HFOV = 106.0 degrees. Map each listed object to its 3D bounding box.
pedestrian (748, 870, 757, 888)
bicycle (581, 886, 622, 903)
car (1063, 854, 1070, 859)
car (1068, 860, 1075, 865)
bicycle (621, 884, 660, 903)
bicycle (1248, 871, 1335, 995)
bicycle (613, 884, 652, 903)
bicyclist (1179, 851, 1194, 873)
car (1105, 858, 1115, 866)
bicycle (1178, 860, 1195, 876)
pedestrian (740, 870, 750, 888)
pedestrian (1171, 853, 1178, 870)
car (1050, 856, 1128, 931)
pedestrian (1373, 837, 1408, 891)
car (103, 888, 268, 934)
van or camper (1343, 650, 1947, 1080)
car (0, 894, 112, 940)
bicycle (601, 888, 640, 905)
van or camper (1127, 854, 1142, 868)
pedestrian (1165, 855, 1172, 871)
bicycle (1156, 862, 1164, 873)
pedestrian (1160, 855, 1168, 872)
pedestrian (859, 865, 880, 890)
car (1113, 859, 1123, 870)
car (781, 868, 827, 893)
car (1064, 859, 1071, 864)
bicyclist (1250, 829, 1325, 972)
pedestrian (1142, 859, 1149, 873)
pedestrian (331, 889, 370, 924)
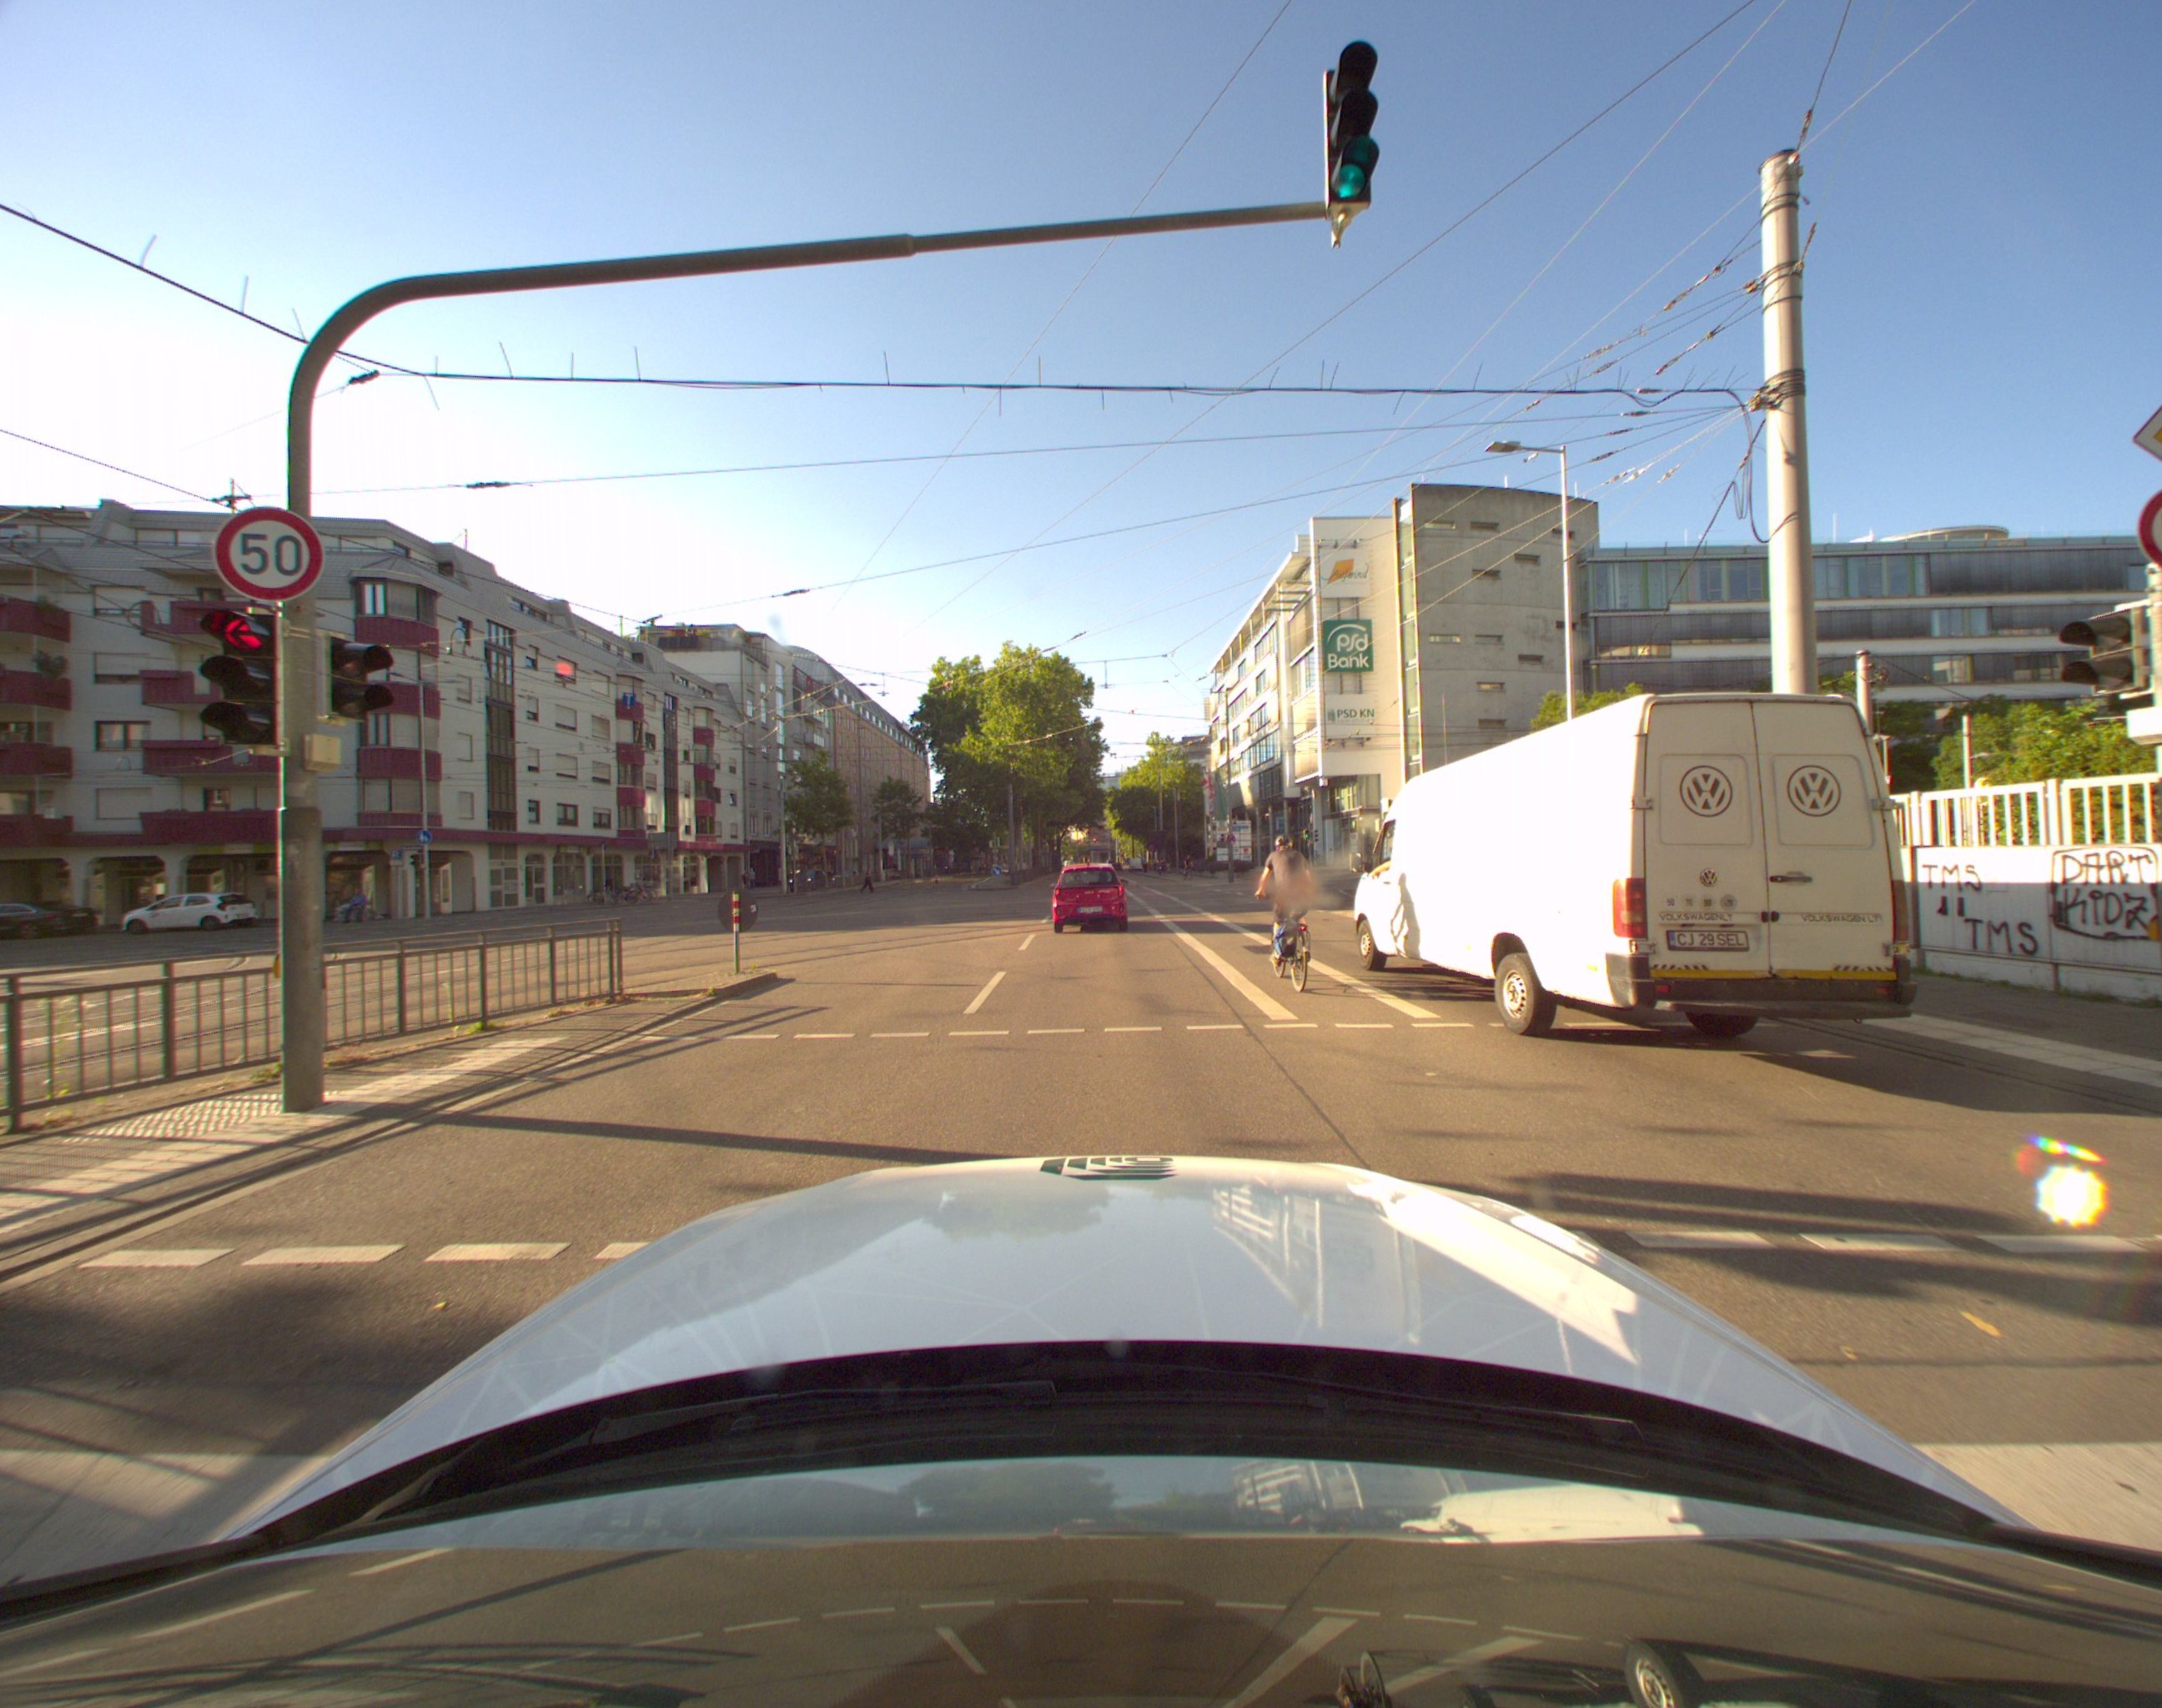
[{"bbox_3d":[-27.906,2.101,69.197,0.533,1.494,0.587,-2,-1,-3],"label":"pedestrian"},{"bbox_3d":[-25.898,2.176,43.991,1.836,0.854,0.553,-2,-1,2],"label":"bicycle"},{"bbox_3d":[-4.664,0.770,261.583,1.774,1.588,3.406,-1,0,-5],"label":"car"},{"bbox_3d":[-2.955,2.557,248.974,1.774,1.535,3.406,-1,0,-5],"label":"car"},{"bbox_3d":[-25.198,2.251,46.602,1.838,0.985,0.553,-2,-1,-3],"label":"bicycle"},{"bbox_3d":[2.461,0.870,9.739,0.647,1.281,1.968,-2,0,5],"label":"bicycle"},{"bbox_3d":[-25.319,2.233,45.994,1.838,0.985,0.553,-2,-1,-3],"label":"bicycle"},{"bbox_3d":[7.968,0.638,61.793,0.722,1.603,1.084,-4,0,-11],"label":"bicyclist"},{"bbox_3d":[5.950,1.667,167.372,1.774,1.535,3.506,-1,0,-4],"label":"car"},{"bbox_3d":[7.998,1.079,61.778,0.697,1.098,1.744,-6,0,-11],"label":"bicycle"},{"bbox_3d":[-28.515,2.108,69.099,0.533,1.494,0.587,-2,-1,-3],"label":"pedestrian"},{"bbox_3d":[10.236,0.833,89.013,0.539,1.796,0.906,-5,-1,-2],"label":"pedestrian"},{"bbox_3d":[0.183,0.833,18.694,1.608,1.535,3.411,-1,0,0],"label":"car"},{"bbox_3d":[10.739,0.349,28.303,0.774,1.823,1.217,-2,0,5],"label":"pedestrian"},{"bbox_3d":[-35.432,2.226,32.338,3.985,1.555,1.994,-2,0,-9],"label":"car"},{"bbox_3d":[4.616,0.081,8.364,1.961,2.716,6.307,-1,0,2],"label":"van or camper"},{"bbox_3d":[-40.742,2.463,31.320,4.108,1.555,1.994,-2,0,-9],"label":"car"},{"bbox_3d":[-25.292,2.326,44.719,1.836,0.854,0.553,-2,-1,2],"label":"bicycle"},{"bbox_3d":[8.123,1.113,124.022,1.986,1.989,4.746,-2,-1,1],"label":"van or camper"},{"bbox_3d":[9.564,0.978,88.891,0.563,1.702,0.906,-5,-1,-2],"label":"pedestrian"},{"bbox_3d":[7.709,1.334,79.604,0.518,0.975,2.203,-6,0,3],"label":"bicycle"},{"bbox_3d":[8.115,0.923,79.621,0.644,1.680,0.652,-2,-1,3],"label":"pedestrian"},{"bbox_3d":[-13.309,1.485,51.255,1.041,1.544,0.695,-2,-1,4],"label":"pedestrian"},{"bbox_3d":[6.396,1.738,139.611,1.629,1.800,3.331,-2,0,2],"label":"car"},{"bbox_3d":[-21.005,1.989,61.928,1.949,1.672,4.259,-2,0,0],"label":"car"},{"bbox_3d":[-4.231,2.402,255.559,1.774,1.535,3.406,-1,0,-5],"label":"car"},{"bbox_3d":[2.449,0.527,9.773,0.647,1.603,1.090,-2,0,5],"label":"bicyclist"},{"bbox_3d":[7.718,1.422,97.661,0.640,1.579,0.723,-6,-1,-2],"label":"pedestrian"},{"bbox_3d":[-30.746,2.191,34.280,0.857,1.384,0.833,-2,0,-11],"label":"pedestrian"}]
